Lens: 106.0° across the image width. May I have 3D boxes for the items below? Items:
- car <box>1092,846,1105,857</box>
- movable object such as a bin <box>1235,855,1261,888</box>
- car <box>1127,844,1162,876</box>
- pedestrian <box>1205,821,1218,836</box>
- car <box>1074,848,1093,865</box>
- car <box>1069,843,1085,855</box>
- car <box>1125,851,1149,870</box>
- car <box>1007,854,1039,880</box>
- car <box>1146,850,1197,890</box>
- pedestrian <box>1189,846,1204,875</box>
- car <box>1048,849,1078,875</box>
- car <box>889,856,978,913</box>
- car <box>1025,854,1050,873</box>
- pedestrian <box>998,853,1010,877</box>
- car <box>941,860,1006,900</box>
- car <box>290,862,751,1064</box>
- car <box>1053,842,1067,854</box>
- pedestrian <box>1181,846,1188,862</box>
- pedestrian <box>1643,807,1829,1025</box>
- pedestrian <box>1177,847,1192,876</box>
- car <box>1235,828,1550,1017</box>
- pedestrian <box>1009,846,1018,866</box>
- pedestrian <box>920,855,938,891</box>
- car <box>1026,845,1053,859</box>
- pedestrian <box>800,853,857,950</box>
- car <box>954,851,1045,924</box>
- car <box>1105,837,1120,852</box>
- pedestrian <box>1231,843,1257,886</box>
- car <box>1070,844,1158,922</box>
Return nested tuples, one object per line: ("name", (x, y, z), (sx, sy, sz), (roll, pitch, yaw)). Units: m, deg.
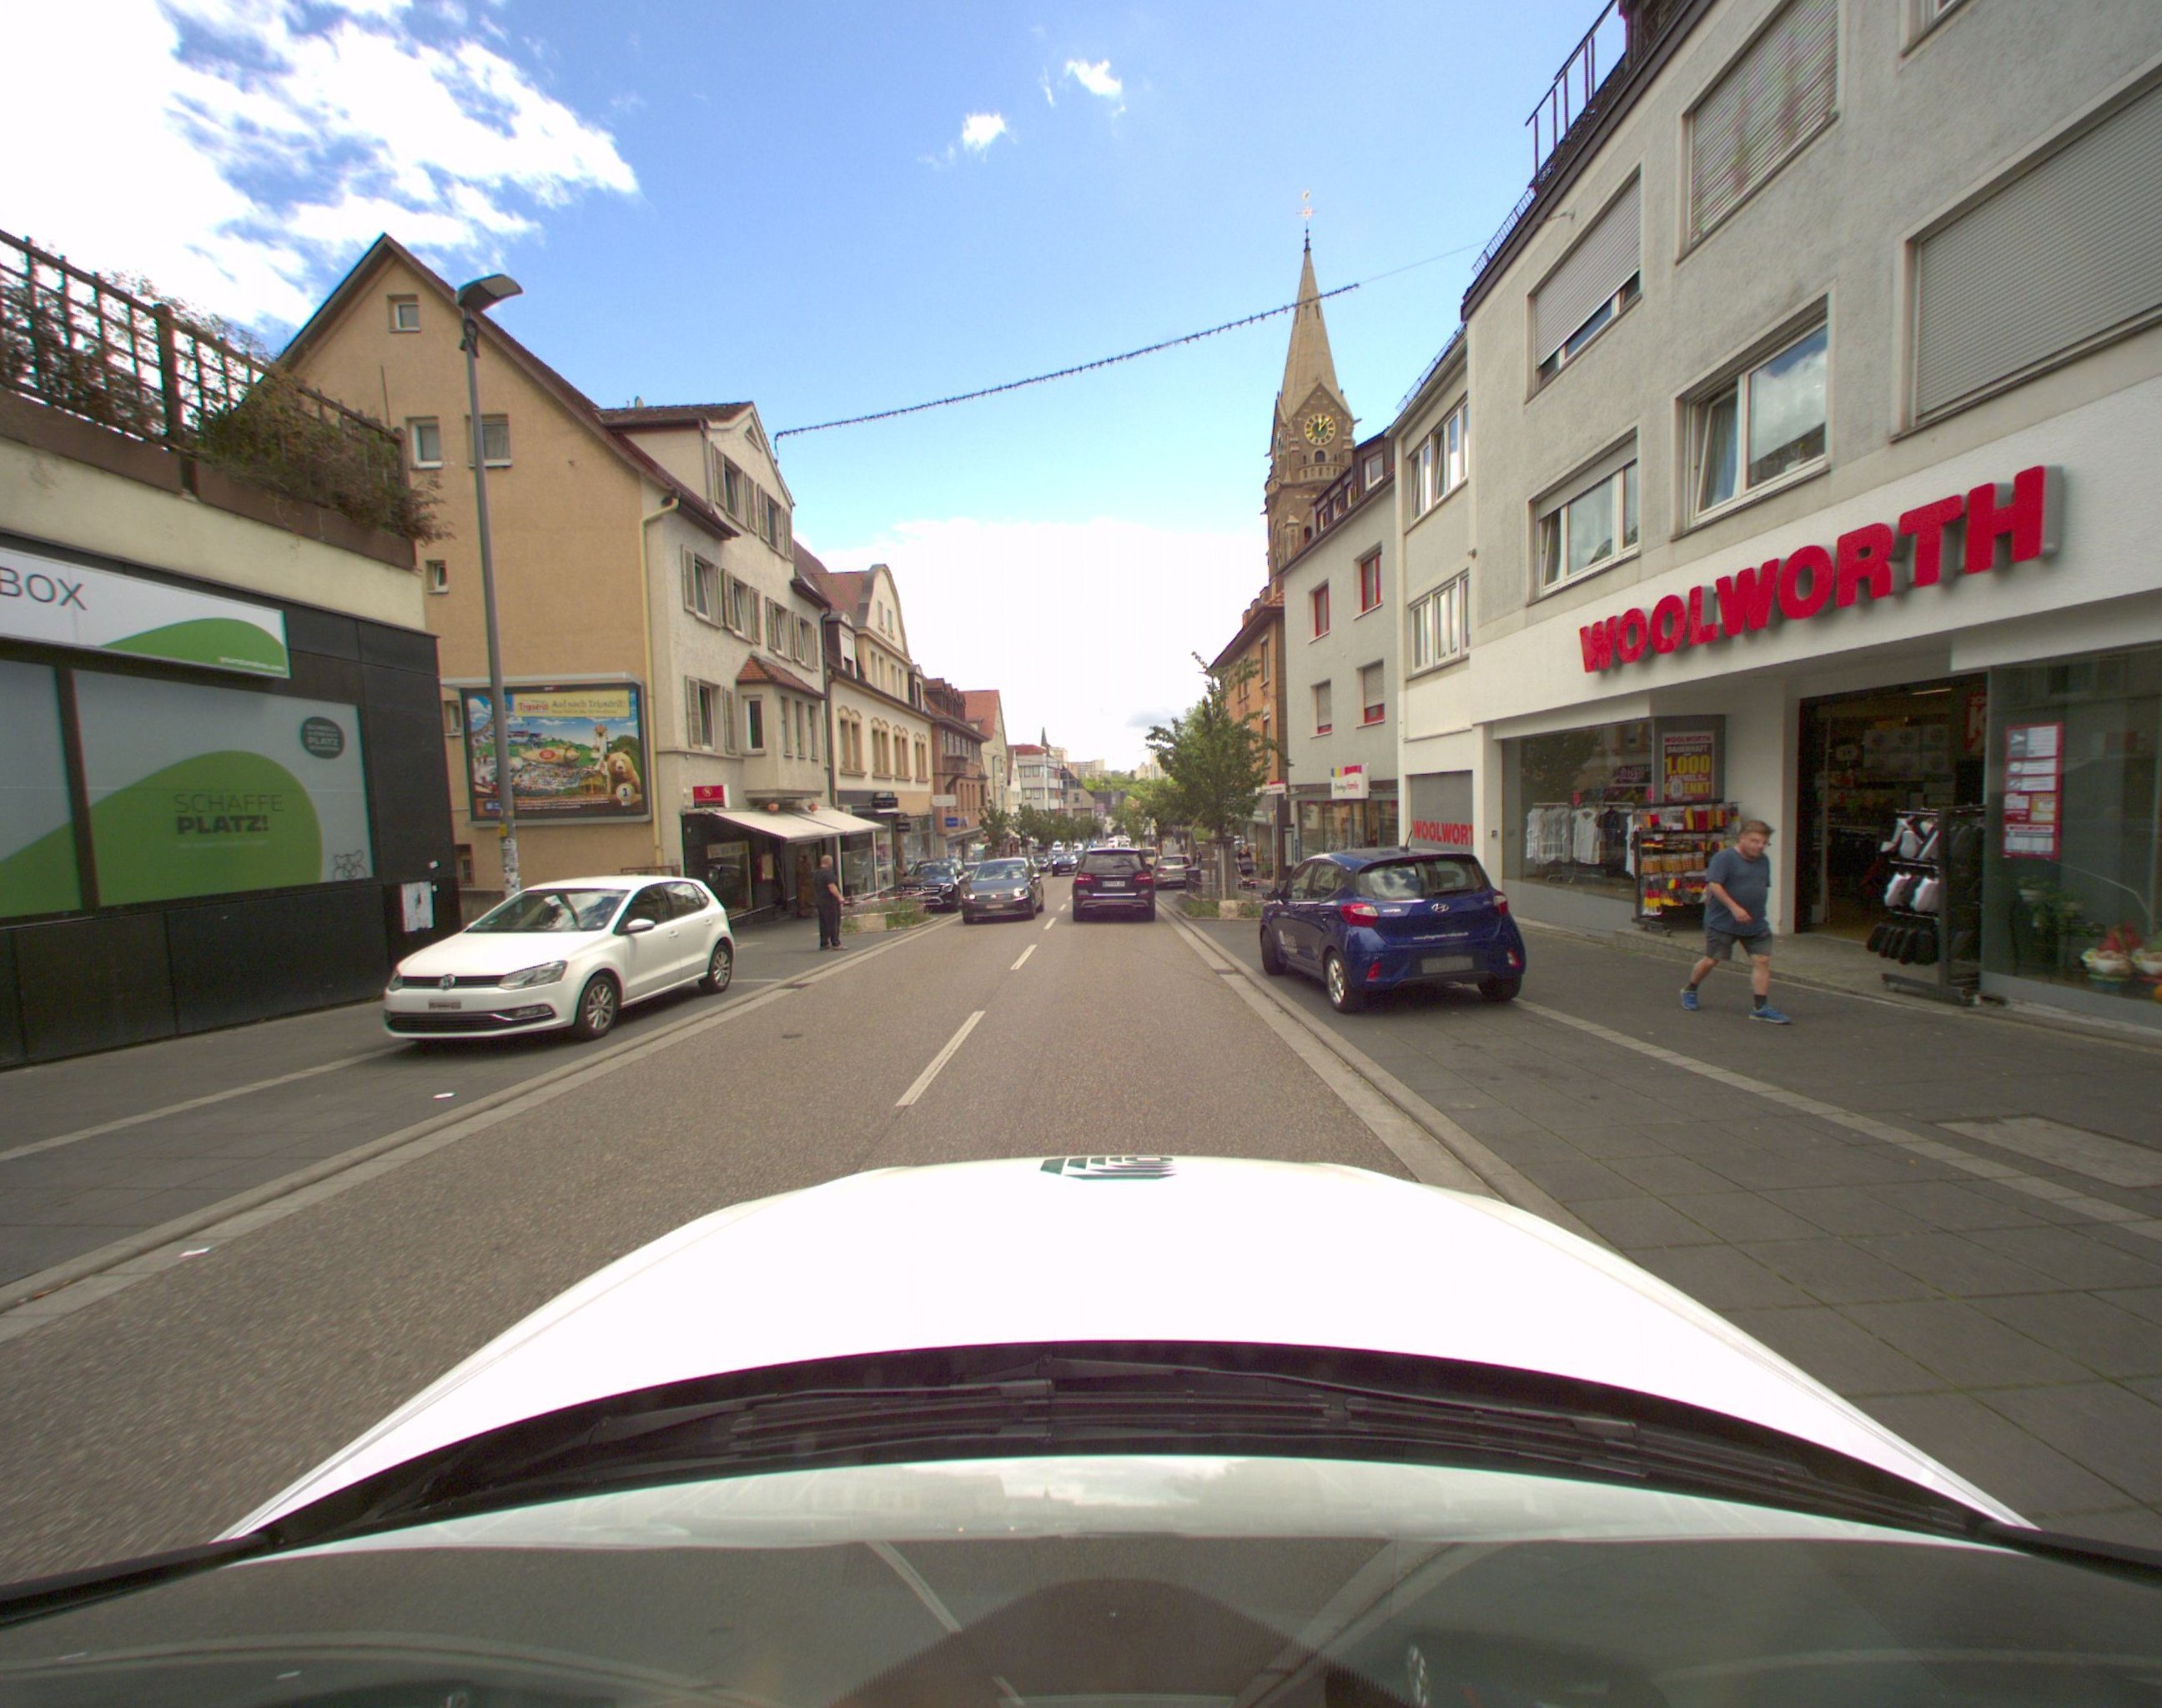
("car", (2.460, -0.362, 115.477), (1.806, 1.508, 4.001), (-2, 0, 1))
("movable object such as a bin", (6.291, 0.648, 30.692), (0.719, 1.158, 0.907), (-4, 0, 0))
("car", (4.111, 0.331, 53.258), (1.931, 1.891, 4.708), (-4, 1, 1))
("pedestrian", (11.131, -2.204, 69.501), (0.986, 1.231, 0.984), (-2, 0, 3))
("car", (0.237, 0.236, 81.767), (1.758, 1.617, 4.033), (-3, 1, 1))
("car", (-0.532, -0.745, 112.020), (1.919, 1.628, 4.264), (0, 1, 2))
("car", (4.832, 0.568, 71.248), (1.930, 1.457, 4.710), (-2, 1, 2))
("car", (-3.835, 0.837, 54.634), (1.921, 1.595, 4.455), (0, 1, -2))
("car", (3.910, 0.665, 35.839), (1.742, 1.465, 4.075), (-5, 1, 1))
("pedestrian", (6.711, 0.358, 47.484), (0.670, 1.632, 0.669), (-4, 0, -1))
("car", (-1.283, 0.542, 59.938), (1.985, 1.718, 4.447), (-3, 0, 1))
("car", (-4.564, 0.879, 25.929), (1.920, 1.621, 4.639), (0, 0, 0))
("car", (-3.740, 0.807, 71.070), (1.920, 1.496, 4.262), (0, 1, 0))
("pedestrian", (-5.420, 0.766, 57.460), (0.724, 1.667, 0.720), (-1, 0, 0))
("car", (-4.330, 1.021, 33.532), (1.919, 1.430, 4.265), (-1, 0, 2))
("car", (-5.362, 0.895, 8.675), (1.920, 1.511, 4.262), (0, 1, 0))
("car", (-2.958, -0.928, 115.037), (1.920, 1.628, 4.414), (0, 1, 0))
("pedestrian", (10.324, -0.018, 81.392), (0.565, 1.586, 0.668), (-2, 0, 10))
("pedestrian", (5.071, 0.448, 6.358), (0.754, 1.560, 0.817), (-2, 1, -1))
("pedestrian", (6.017, 0.452, 47.385), (0.670, 1.632, 0.669), (-4, 0, -1))
("car", (3.063, 0.613, 8.932), (1.744, 1.497, 3.795), (-4, -1, -3))
("pedestrian", (-5.545, 0.161, 67.277), (0.639, 1.667, 0.720), (-1, 0, 1))
("pedestrian", (-6.749, 0.830, 36.187), (0.545, 1.575, 0.863), (-3, 1, 1))
("car", (-6.238, -0.312, 122.452), (3.977, 1.749, 1.998), (-4, 0, -3))
("pedestrian", (-4.551, 0.836, 14.726), (0.735, 1.672, 0.862), (-2, 0, -1))
("car", (-2.004, 0.791, 21.247), (1.813, 1.618, 4.136), (-4, 0, 0))
("car", (5.251, -1.617, 136.556), (2.163, 2.364, 4.630), (-3, 0, 6))
("pedestrian", (6.325, 0.414, 31.645), (0.733, 1.585, 1.000), (-4, 0, 0))
("car", (0.802, 0.619, 20.155), (1.936, 1.740, 4.181), (0, 1, 2))
